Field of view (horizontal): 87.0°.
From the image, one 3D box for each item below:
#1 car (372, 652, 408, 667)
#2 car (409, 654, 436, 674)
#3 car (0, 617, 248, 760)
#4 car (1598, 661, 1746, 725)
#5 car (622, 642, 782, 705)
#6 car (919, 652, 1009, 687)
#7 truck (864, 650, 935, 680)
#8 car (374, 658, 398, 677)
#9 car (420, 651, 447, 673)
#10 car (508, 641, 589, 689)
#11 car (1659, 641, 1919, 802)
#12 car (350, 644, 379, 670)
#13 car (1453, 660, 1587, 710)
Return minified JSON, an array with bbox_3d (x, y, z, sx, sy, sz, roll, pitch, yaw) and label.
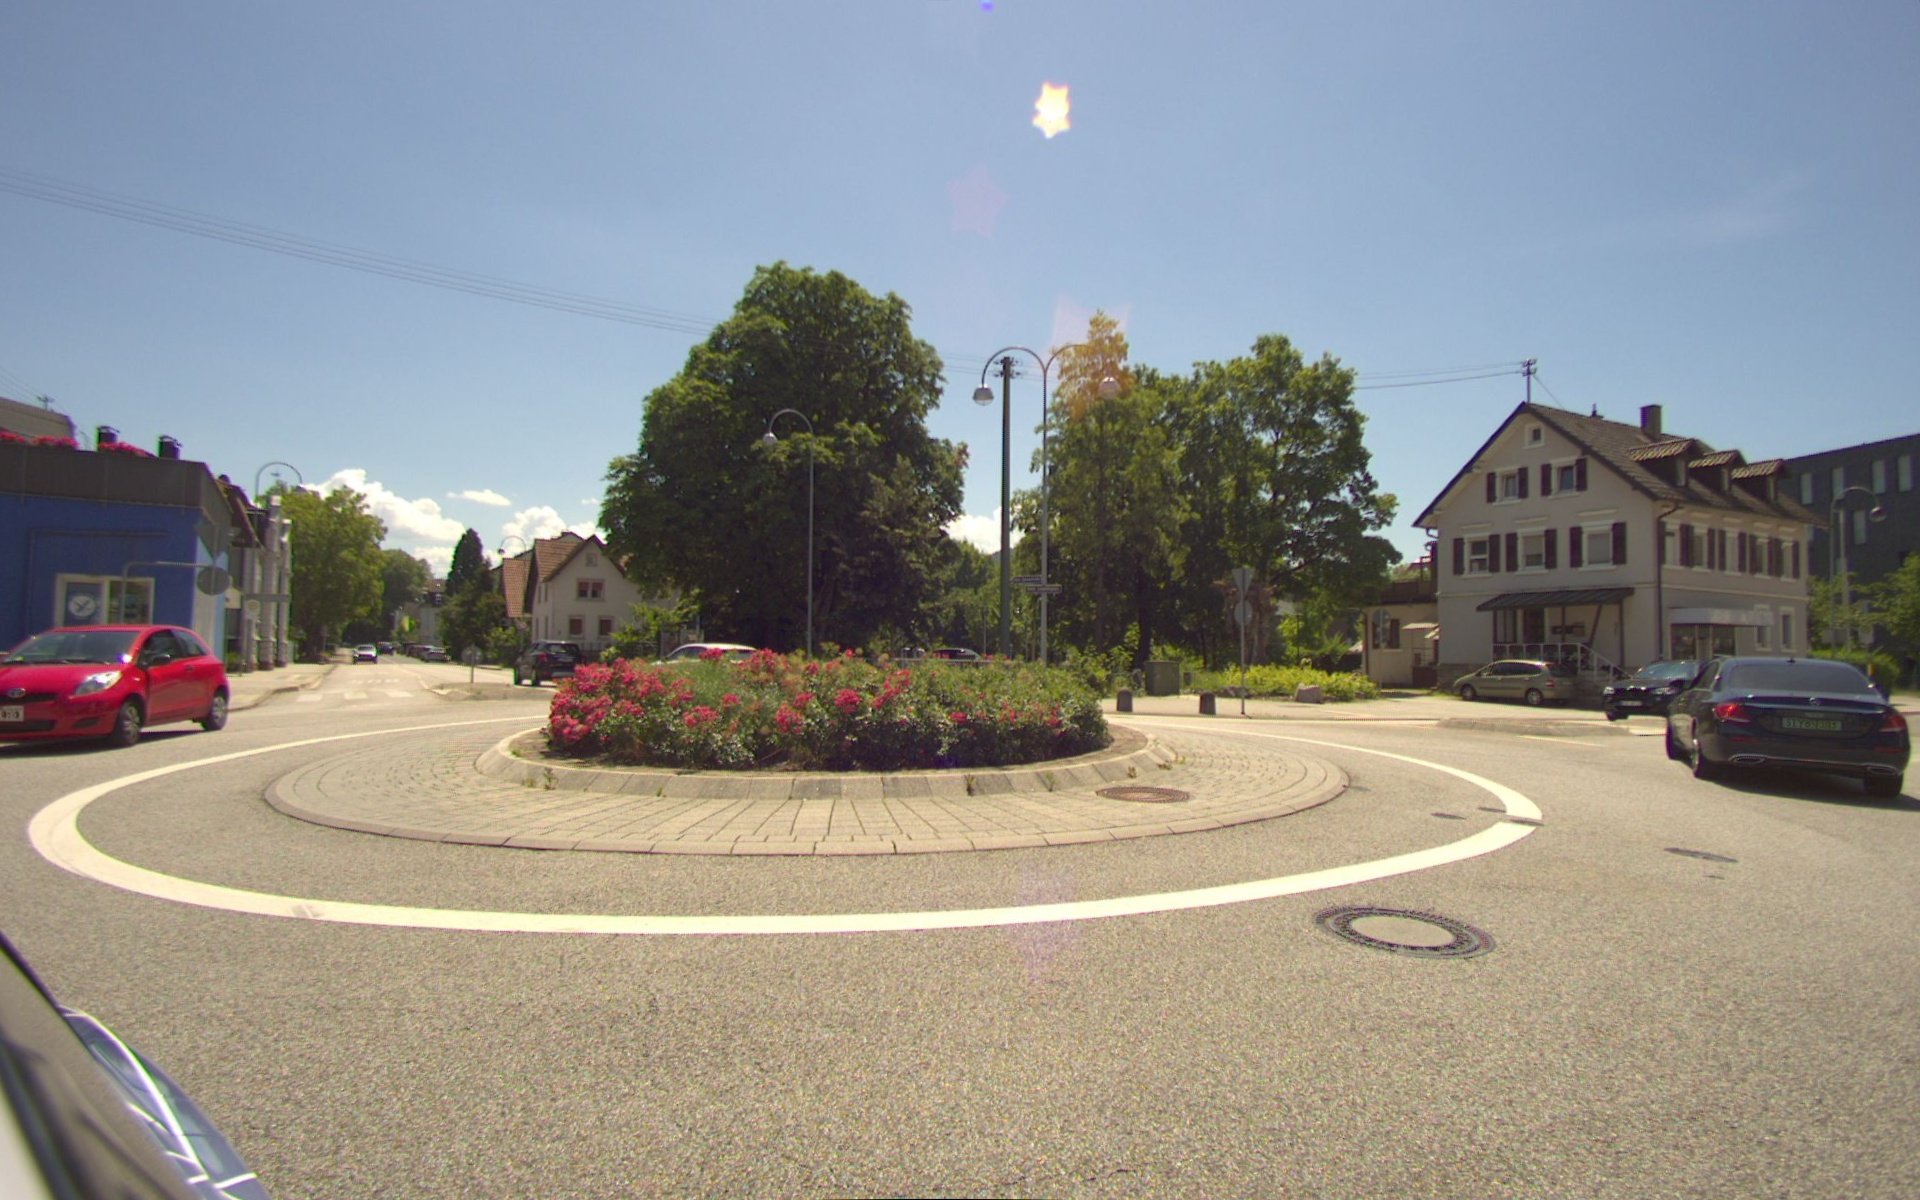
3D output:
[{"bbox_3d":[-80.937,8.464,143.720,3.937,2.029,2.003,6,-8,-40],"label":"car"},{"bbox_3d":[-58.707,6.979,110.543,1.967,2.029,4.009,5,-7,-35],"label":"car"},{"bbox_3d":[-11.017,1.045,12.919,1.804,1.545,4.010,-1,-2,-14],"label":"car"},{"bbox_3d":[18.910,2.428,26.884,3.531,1.558,1.760,2,-3,-27],"label":"car"},{"bbox_3d":[-6.641,1.823,25.807,4.288,1.392,1.906,-1,-3,43],"label":"car"},{"bbox_3d":[0.206,3.332,48.893,3.981,1.614,1.825,-1,-4,28],"label":"car"},{"bbox_3d":[-5.380,5.845,90.597,6.132,2.462,2.264,1,-6,1],"label":"truck"},{"bbox_3d":[-63.979,7.538,112.706,1.966,2.029,4.010,4,-7,-33],"label":"car"},{"bbox_3d":[-52.715,6.231,101.344,1.966,2.029,4.011,4,-7,-32],"label":"car"},{"bbox_3d":[-14.876,2.309,36.439,1.966,1.574,4.178,3,-3,-32],"label":"car"},{"bbox_3d":[10.036,1.386,12.255,1.991,1.489,4.664,2,-3,28],"label":"car"},{"bbox_3d":[-52.632,5.060,89.422,1.966,2.029,4.011,4,-7,-32],"label":"car"},{"bbox_3d":[20.459,3.081,37.138,1.764,1.608,4.013,4,-4,-27],"label":"car"}]
